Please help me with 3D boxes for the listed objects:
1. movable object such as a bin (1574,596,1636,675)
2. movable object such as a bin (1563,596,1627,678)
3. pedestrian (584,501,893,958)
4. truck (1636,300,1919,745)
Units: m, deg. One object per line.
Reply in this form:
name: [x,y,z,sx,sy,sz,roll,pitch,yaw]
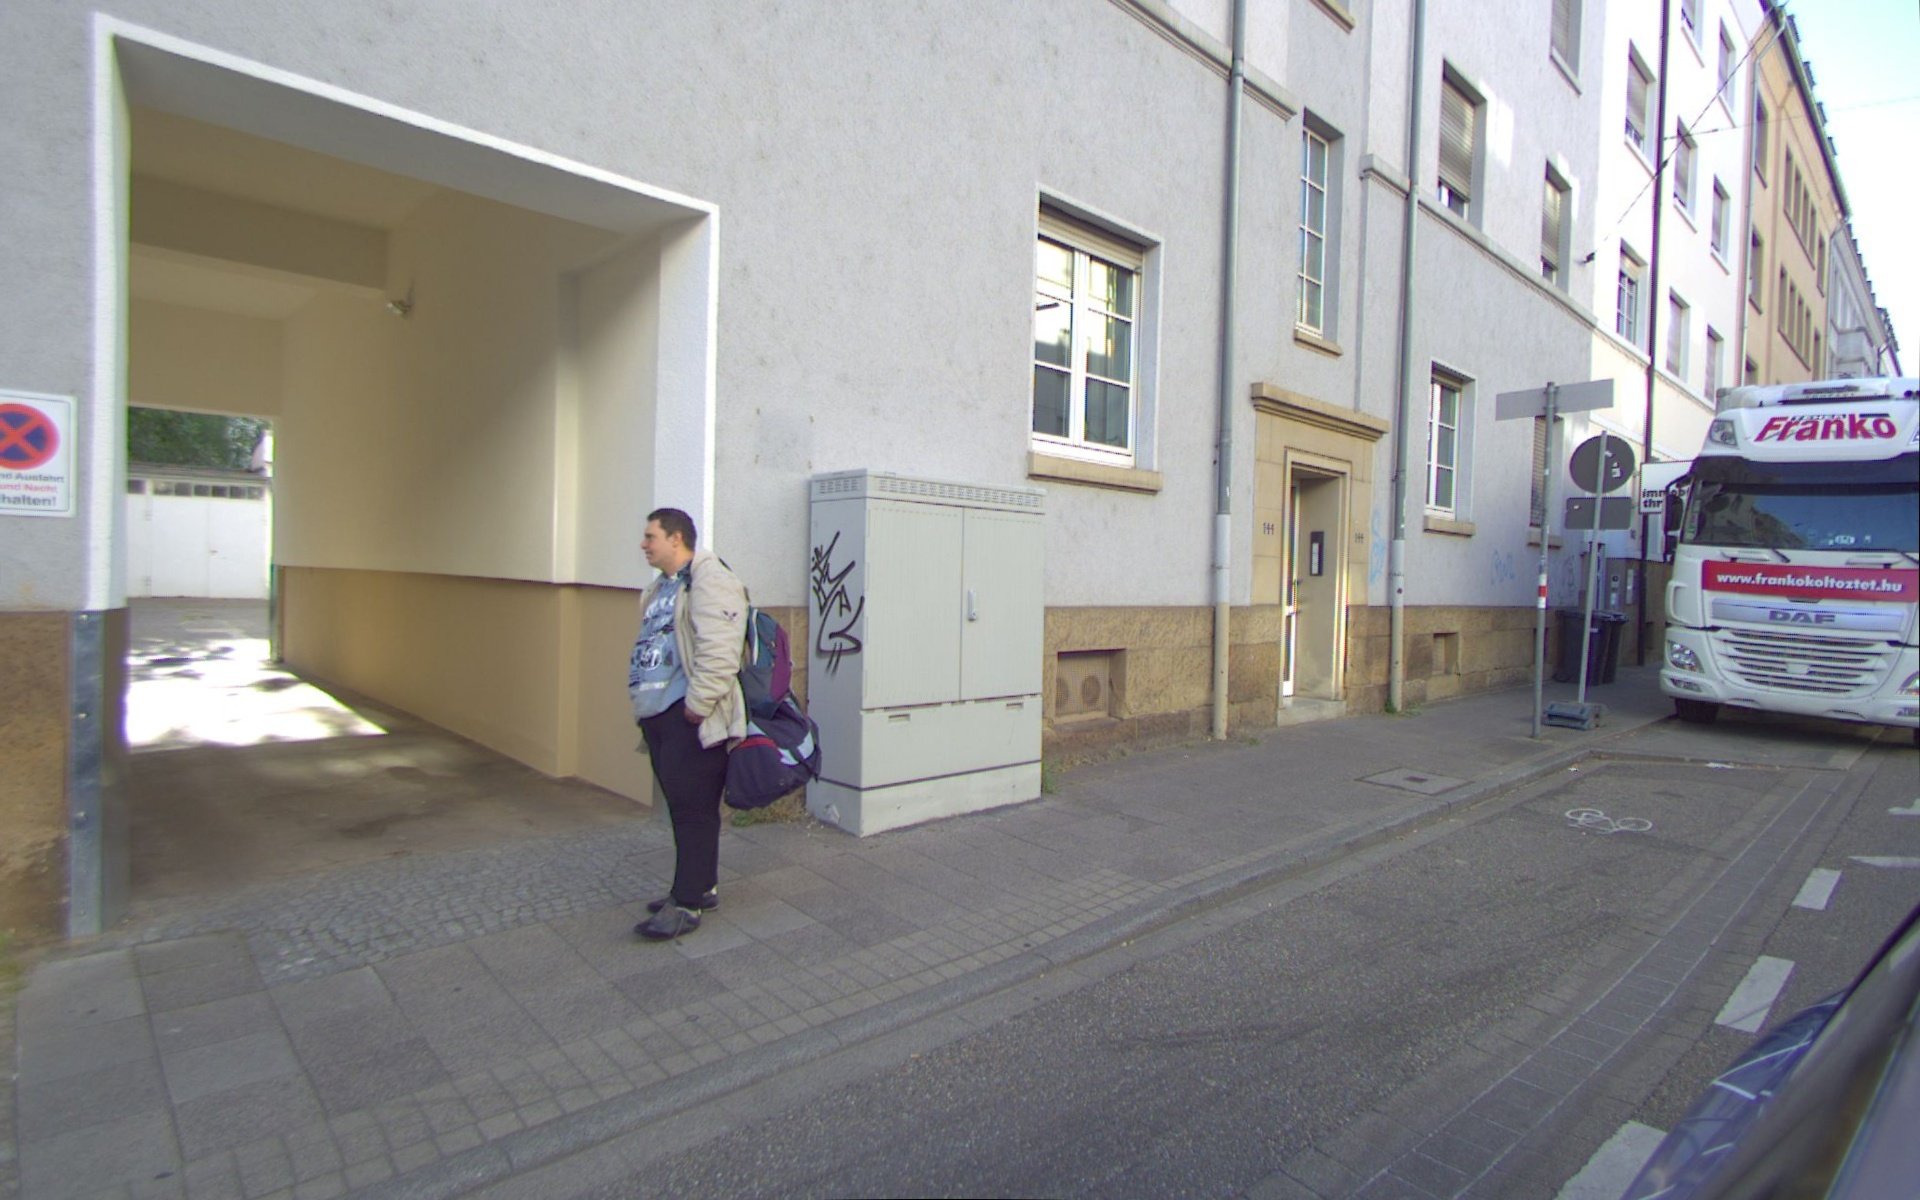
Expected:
movable object such as a bin: [9.564,0.510,15.002,0.658,1.118,0.533,2,2,44]
movable object such as a bin: [9.153,0.515,14.588,0.658,1.118,0.533,2,2,44]
pedestrian: [-0.885,0.414,4.011,0.854,1.552,0.827,0,3,-42]
truck: [12.647,-0.760,13.875,11.578,4.123,2.864,0,2,-43]
